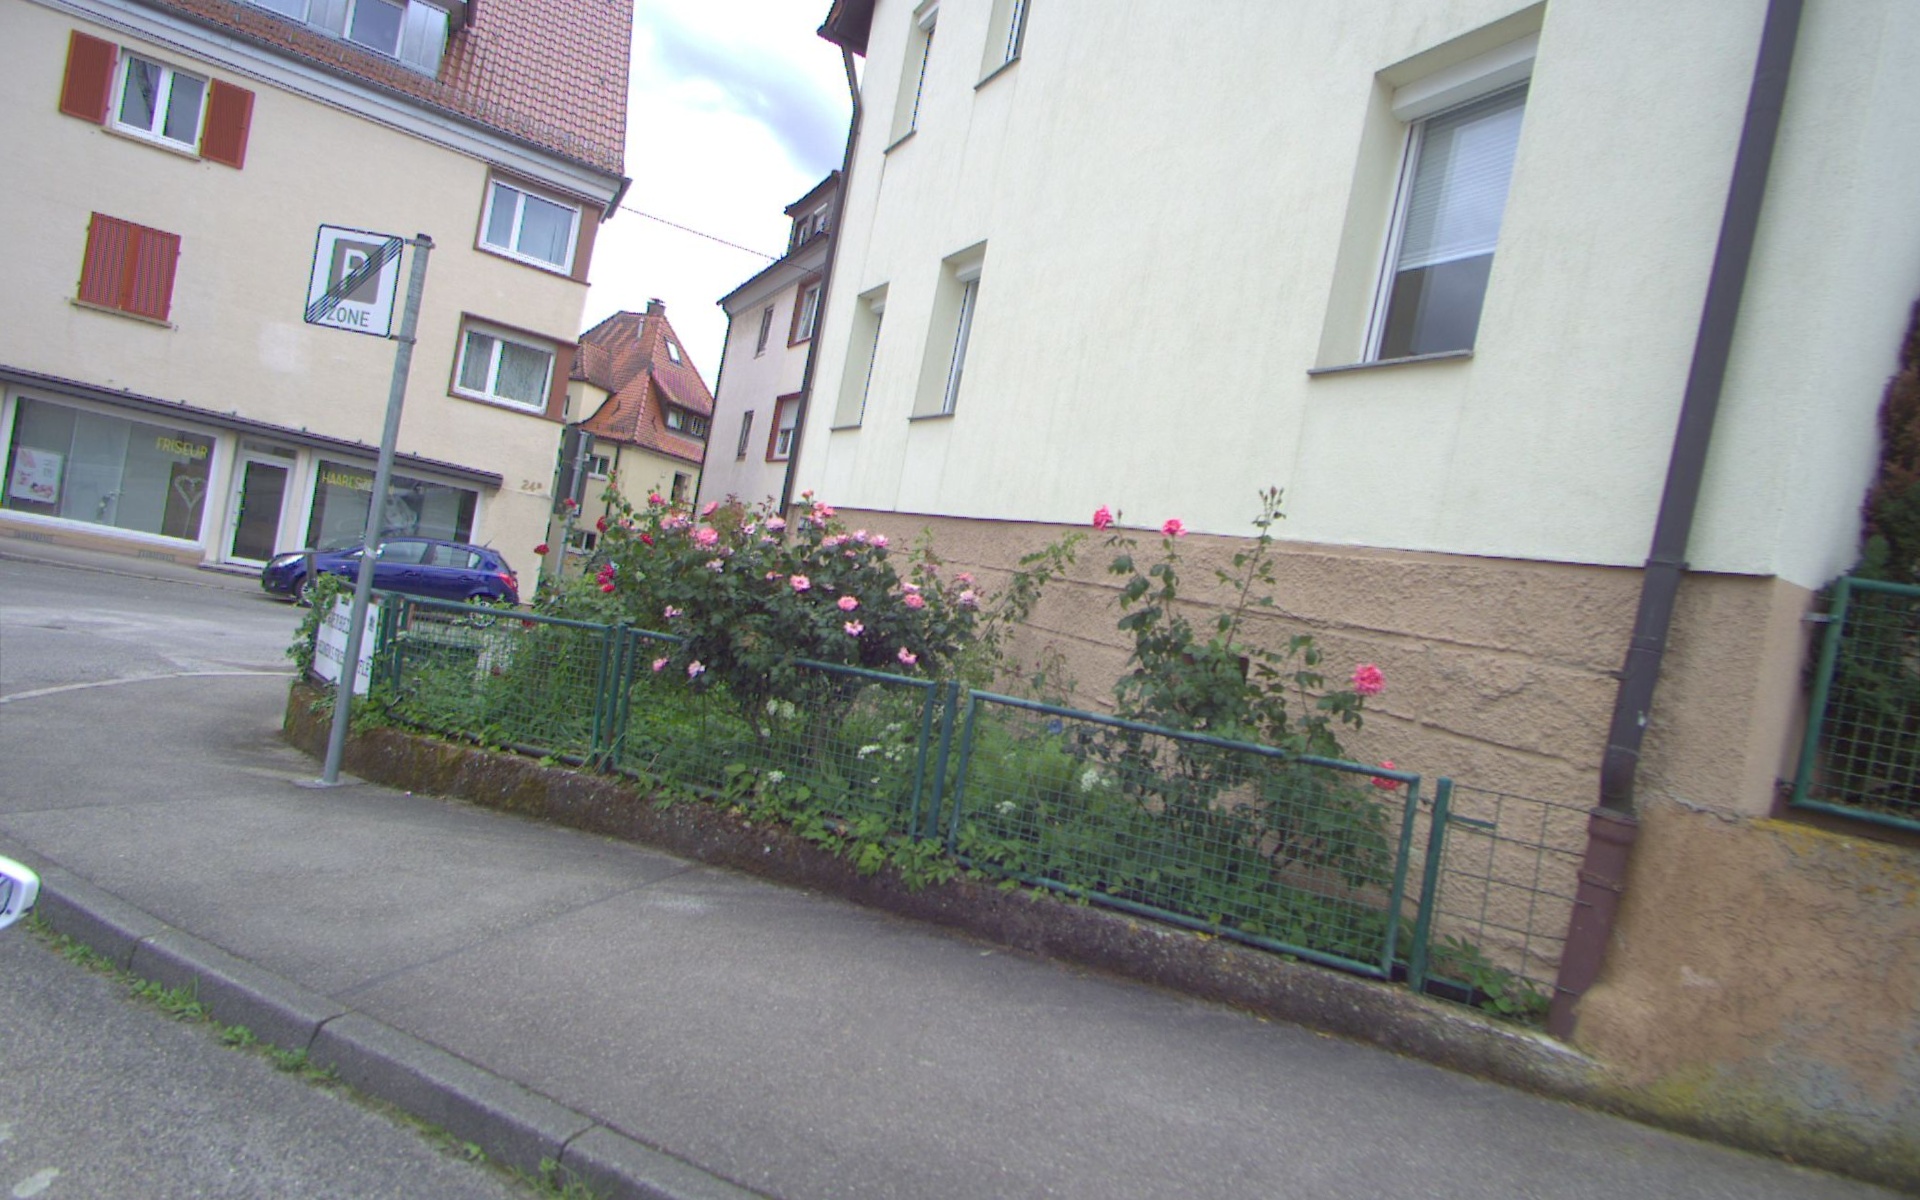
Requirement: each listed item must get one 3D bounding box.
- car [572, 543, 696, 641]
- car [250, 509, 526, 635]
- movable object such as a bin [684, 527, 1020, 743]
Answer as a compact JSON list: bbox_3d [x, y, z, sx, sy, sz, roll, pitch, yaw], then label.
[{"bbox_3d":[-8.057,-0.268,24.548,1.931,1.887,4.869,10,-2,-27],"label":"car"},{"bbox_3d":[-9.862,-0.450,17.652,3.878,1.466,1.685,10,-1,-28],"label":"car"},{"bbox_3d":[-1.603,0.611,15.608,4.629,2.532,1.558,10,4,-31],"label":"movable object such as a bin"}]
